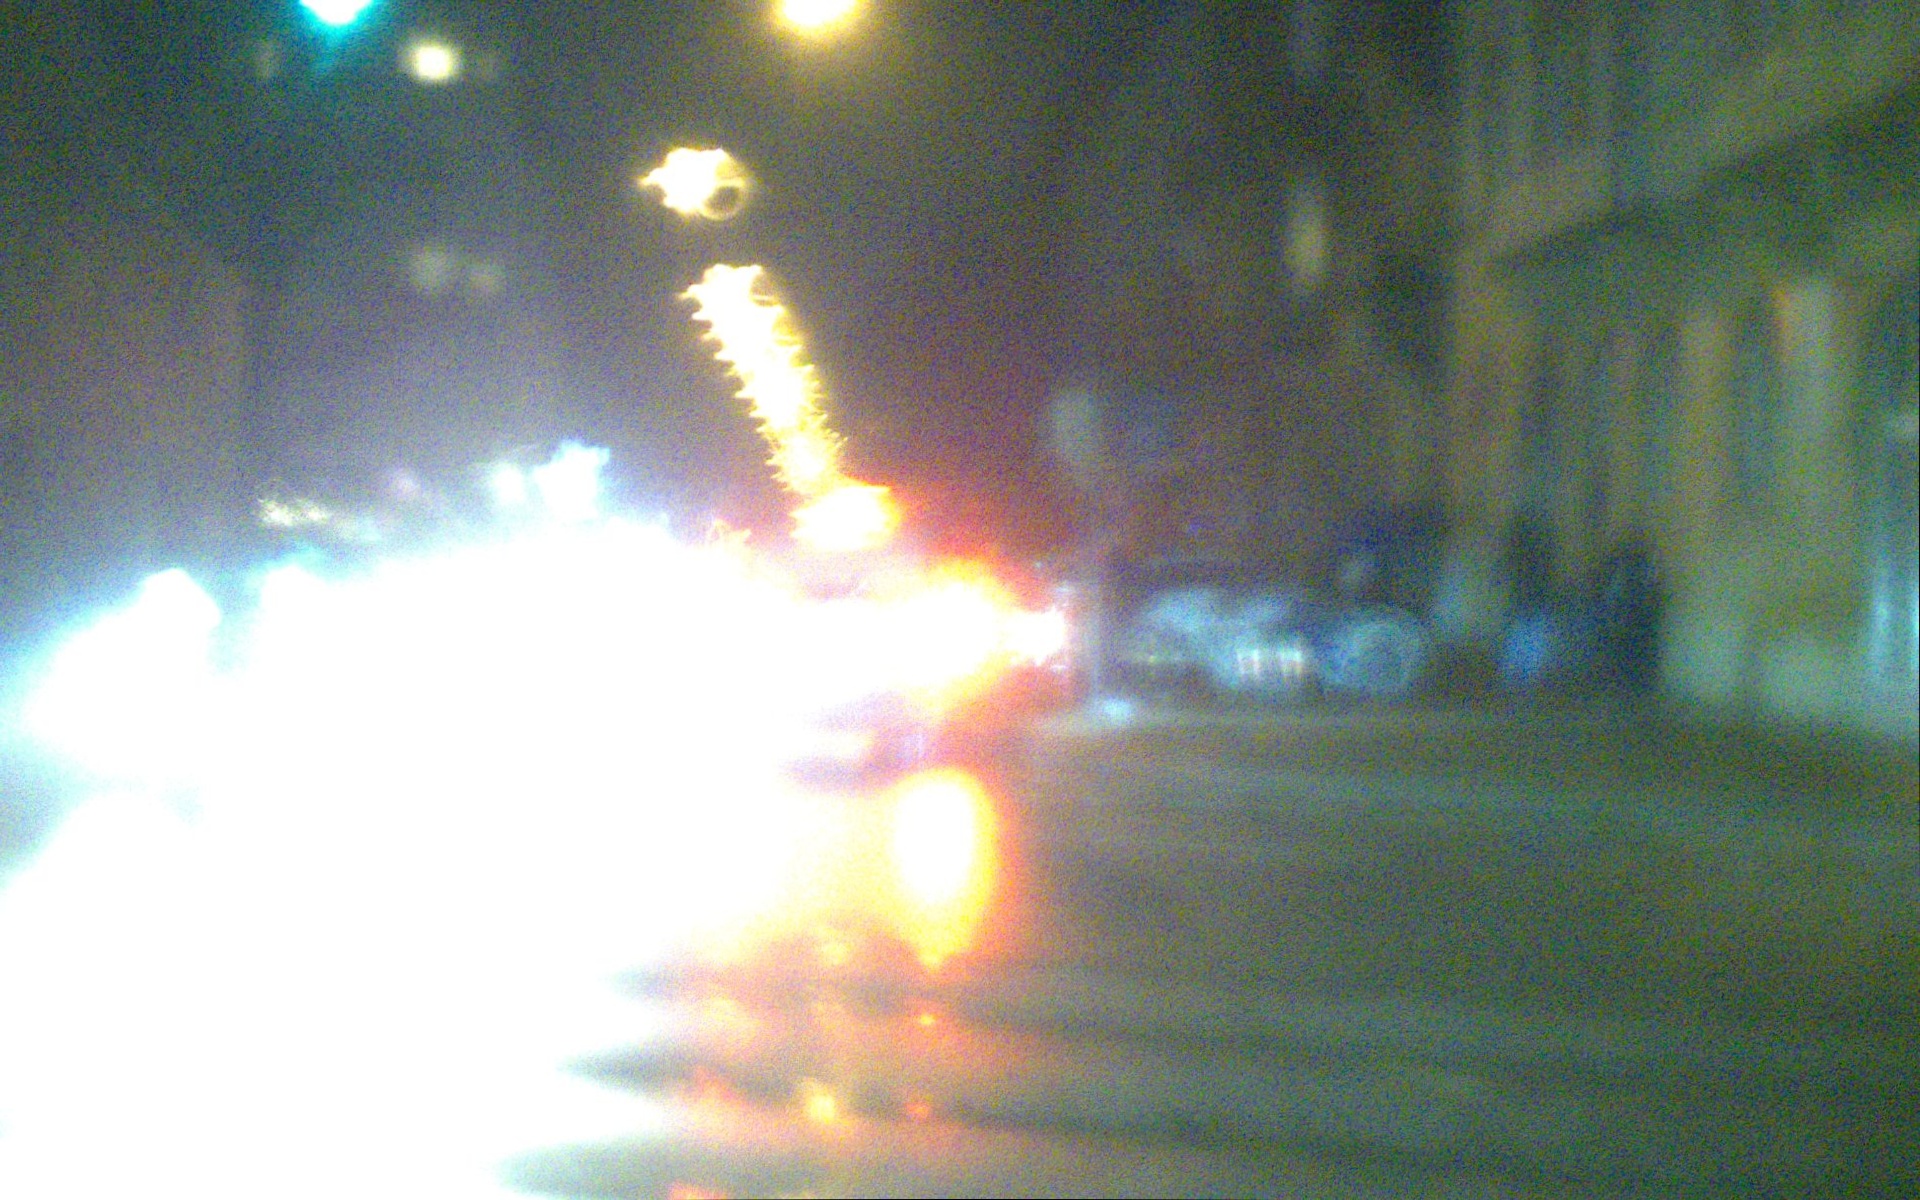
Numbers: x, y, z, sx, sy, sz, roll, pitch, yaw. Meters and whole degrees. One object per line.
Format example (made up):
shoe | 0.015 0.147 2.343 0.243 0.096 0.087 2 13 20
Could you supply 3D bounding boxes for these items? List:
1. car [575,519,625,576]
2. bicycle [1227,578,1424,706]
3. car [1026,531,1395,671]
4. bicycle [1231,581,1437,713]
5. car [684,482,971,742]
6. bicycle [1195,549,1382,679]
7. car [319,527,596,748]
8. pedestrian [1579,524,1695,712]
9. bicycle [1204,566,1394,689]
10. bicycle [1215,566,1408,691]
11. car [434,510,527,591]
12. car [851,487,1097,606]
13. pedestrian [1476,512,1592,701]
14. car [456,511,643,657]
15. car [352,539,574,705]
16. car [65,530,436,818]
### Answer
car | -12.789 -1.891 122.162 1.724 1.965 4.222 1 1 -6
bicycle | 3.748 0.422 35.295 1.896 1.247 0.596 -1 1 -6
car | 2.963 -0.027 40.187 4.174 1.452 1.857 -3 3 -40
bicycle | 3.721 0.462 34.262 1.896 1.247 0.711 -1 1 -6
car | -1.082 0.043 28.137 2.168 1.965 4.302 0 1 -2
bicycle | 3.549 0.144 37.160 1.896 1.355 0.596 -1 1 -6
car | -3.786 0.227 26.458 1.668 1.557 4.008 1 1 -2
pedestrian | 5.920 0.145 30.090 0.781 1.612 1.000 0 1 -2
bicycle | 3.603 0.284 36.563 1.896 1.247 0.596 -1 1 -6
bicycle | 3.669 0.289 35.942 1.896 1.247 0.596 -1 1 -6
car | -12.055 -1.271 86.280 1.724 1.965 3.729 0 1 -17
car | 0.319 -1.165 73.051 4.996 2.383 2.139 -3 3 -40
pedestrian | 5.783 0.053 34.683 0.957 1.875 1.000 0 1 -1
car | -4.628 -0.221 39.335 1.787 1.548 4.855 1 1 -3
car | -4.566 0.160 32.059 1.668 1.416 4.098 1 1 -3
car | -4.139 0.363 20.584 1.706 1.537 3.990 1 1 -5
